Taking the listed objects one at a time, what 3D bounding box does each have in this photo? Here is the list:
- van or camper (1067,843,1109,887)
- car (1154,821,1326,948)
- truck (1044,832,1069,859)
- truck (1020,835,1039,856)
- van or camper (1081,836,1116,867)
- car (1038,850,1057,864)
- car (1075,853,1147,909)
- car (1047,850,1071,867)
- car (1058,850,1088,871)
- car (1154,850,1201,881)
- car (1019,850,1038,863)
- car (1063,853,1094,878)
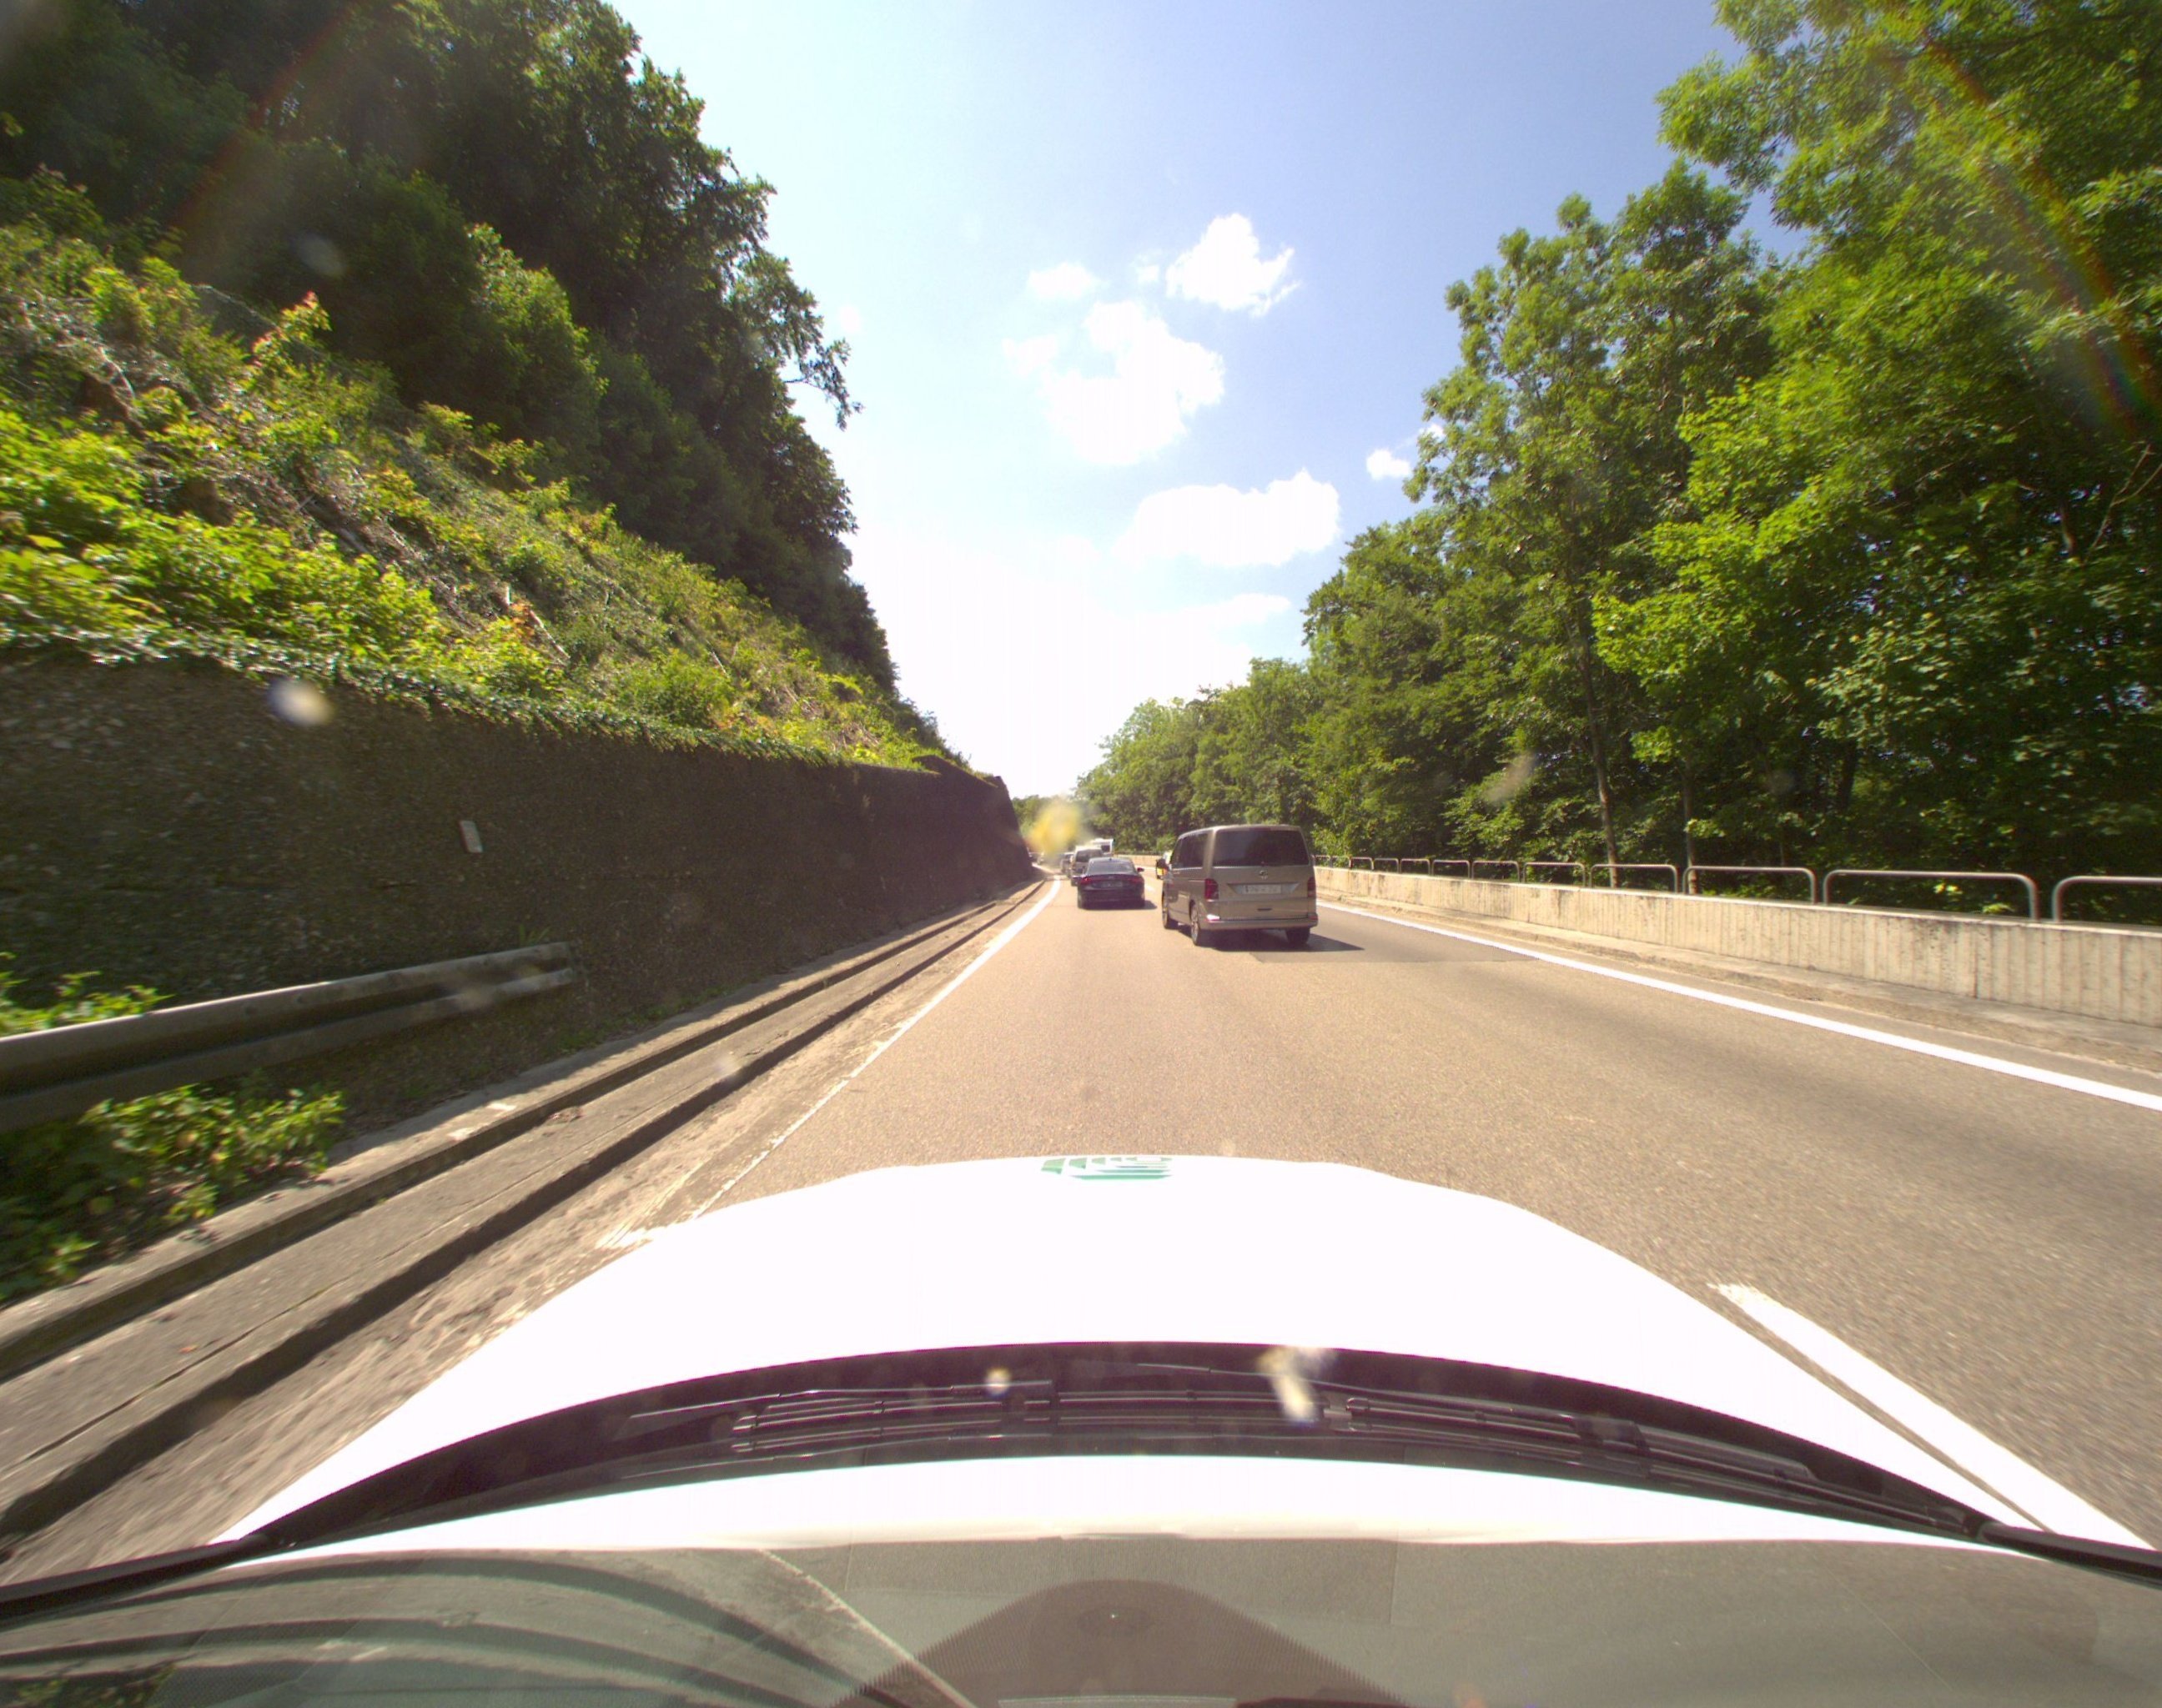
[{"bbox_3d":[0.376,0.485,39.430,1.847,1.942,4.166,2,0,1],"label":"van or camper"},{"bbox_3d":[2.646,0.454,14.780,1.936,1.931,4.688,0,0,-4],"label":"car"},{"bbox_3d":[-3.702,-1.251,121.045,2.922,3.687,7.705,3,0,-7],"label":"truck"},{"bbox_3d":[-9.089,-1.458,142.859,3.158,3.468,8.207,3,0,-5],"label":"truck"},{"bbox_3d":[1.684,-0.268,83.046,2.601,2.855,6.320,2,0,-7],"label":"van or camper"},{"bbox_3d":[-3.943,0.346,95.132,1.991,1.618,3.991,0,0,-7],"label":"car"},{"bbox_3d":[0.826,0.709,23.844,1.898,1.489,4.379,0,0,0],"label":"car"},{"bbox_3d":[-2.170,0.408,80.159,1.857,1.619,3.987,-2,0,-9],"label":"car"},{"bbox_3d":[-0.693,0.498,64.707,1.894,1.584,3.759,0,0,-9],"label":"car"},{"bbox_3d":[4.988,0.565,42.542,1.803,1.477,4.079,2,0,-2],"label":"car"},{"bbox_3d":[-6.964,0.325,107.459,1.754,1.571,3.752,0,0,-15],"label":"car"},{"bbox_3d":[-0.192,0.668,51.462,1.767,1.472,3.997,1,0,-2],"label":"car"}]
